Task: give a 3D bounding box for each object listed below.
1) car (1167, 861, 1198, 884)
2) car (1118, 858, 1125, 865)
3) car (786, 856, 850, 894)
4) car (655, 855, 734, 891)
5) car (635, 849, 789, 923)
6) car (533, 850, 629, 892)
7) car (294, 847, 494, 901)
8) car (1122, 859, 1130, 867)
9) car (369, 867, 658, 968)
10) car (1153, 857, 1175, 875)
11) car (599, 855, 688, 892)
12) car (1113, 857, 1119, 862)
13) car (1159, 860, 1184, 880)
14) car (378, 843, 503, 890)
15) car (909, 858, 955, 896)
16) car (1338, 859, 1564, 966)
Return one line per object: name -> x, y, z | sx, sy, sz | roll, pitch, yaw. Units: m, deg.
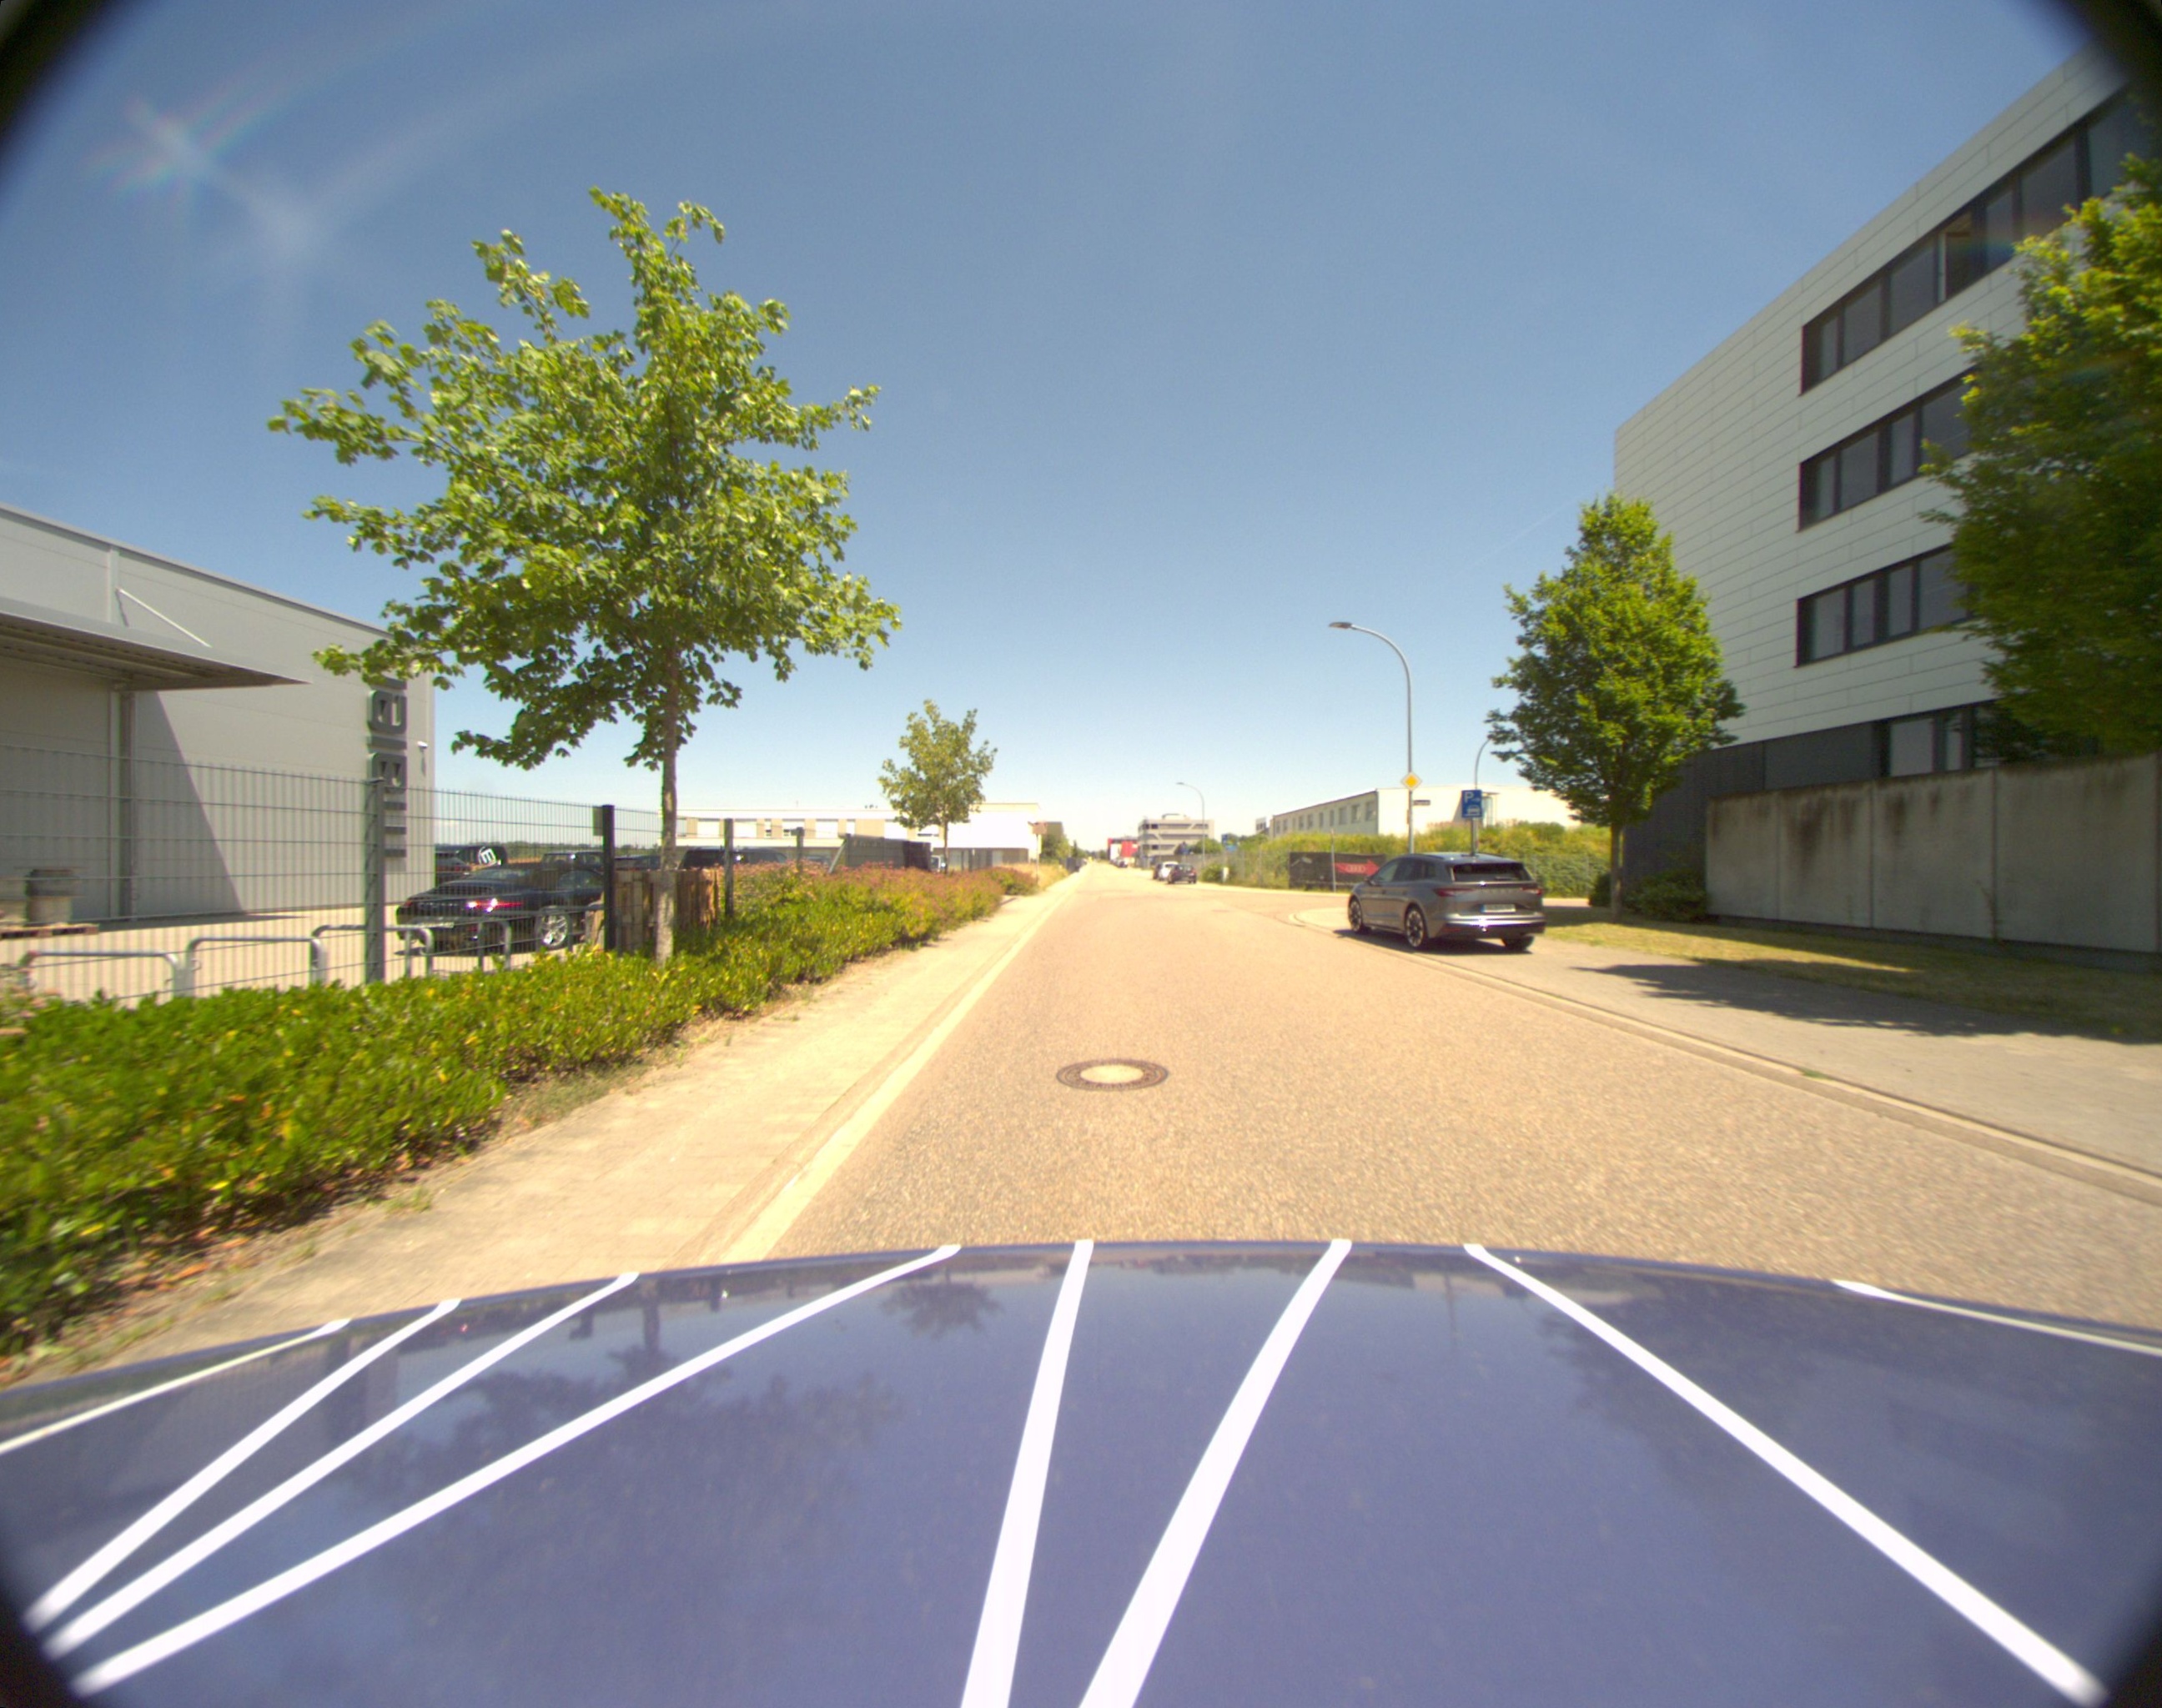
car -> 7.056, 1.282, 53.070 | 1.678, 1.442, 4.069 | 1, 0, 1
car -> 10.480, 1.888, 195.089 | 1.659, 1.572, 3.778 | -2, 0, 2
car -> -11.060, 0.839, 32.143 | 1.518, 1.487, 3.332 | 1, 0, 0
car -> -16.145, 0.750, 31.929 | 1.518, 1.389, 3.540 | 1, 0, 0
car -> -8.565, 0.726, 18.012 | 1.814, 1.543, 3.578 | 1, -1, 1
car -> -20.950, 0.675, 32.013 | 1.518, 1.624, 3.784 | 1, 0, 0
car -> -19.098, 0.576, 21.239 | 3.997, 1.370, 1.706 | 1, -2, 1
car -> 9.724, 1.927, 163.895 | 1.694, 1.481, 3.661 | -2, 0, 2
car -> -8.643, 0.878, 12.065 | 1.622, 1.265, 3.879 | 1, 0, 1
car -> 7.484, 1.086, 68.815 | 1.678, 1.521, 3.909 | -1, 0, 1
car -> -18.286, 0.763, 31.956 | 1.518, 1.422, 3.784 | 1, 0, 0
car -> 11.310, 1.834, 246.046 | 1.772, 1.521, 3.778 | -2, 0, 2
car -> 7.387, 1.302, 62.397 | 1.678, 1.521, 3.758 | 1, 0, 1
car -> -26.658, 0.482, 31.824 | 1.753, 1.836, 4.126 | 1, 0, 0
car -> -6.533, 0.986, 33.500 | 1.470, 1.565, 2.662 | 1, 0, 1
car -> 6.273, 0.895, 13.551 | 1.775, 1.578, 4.481 | -1, -1, -1
